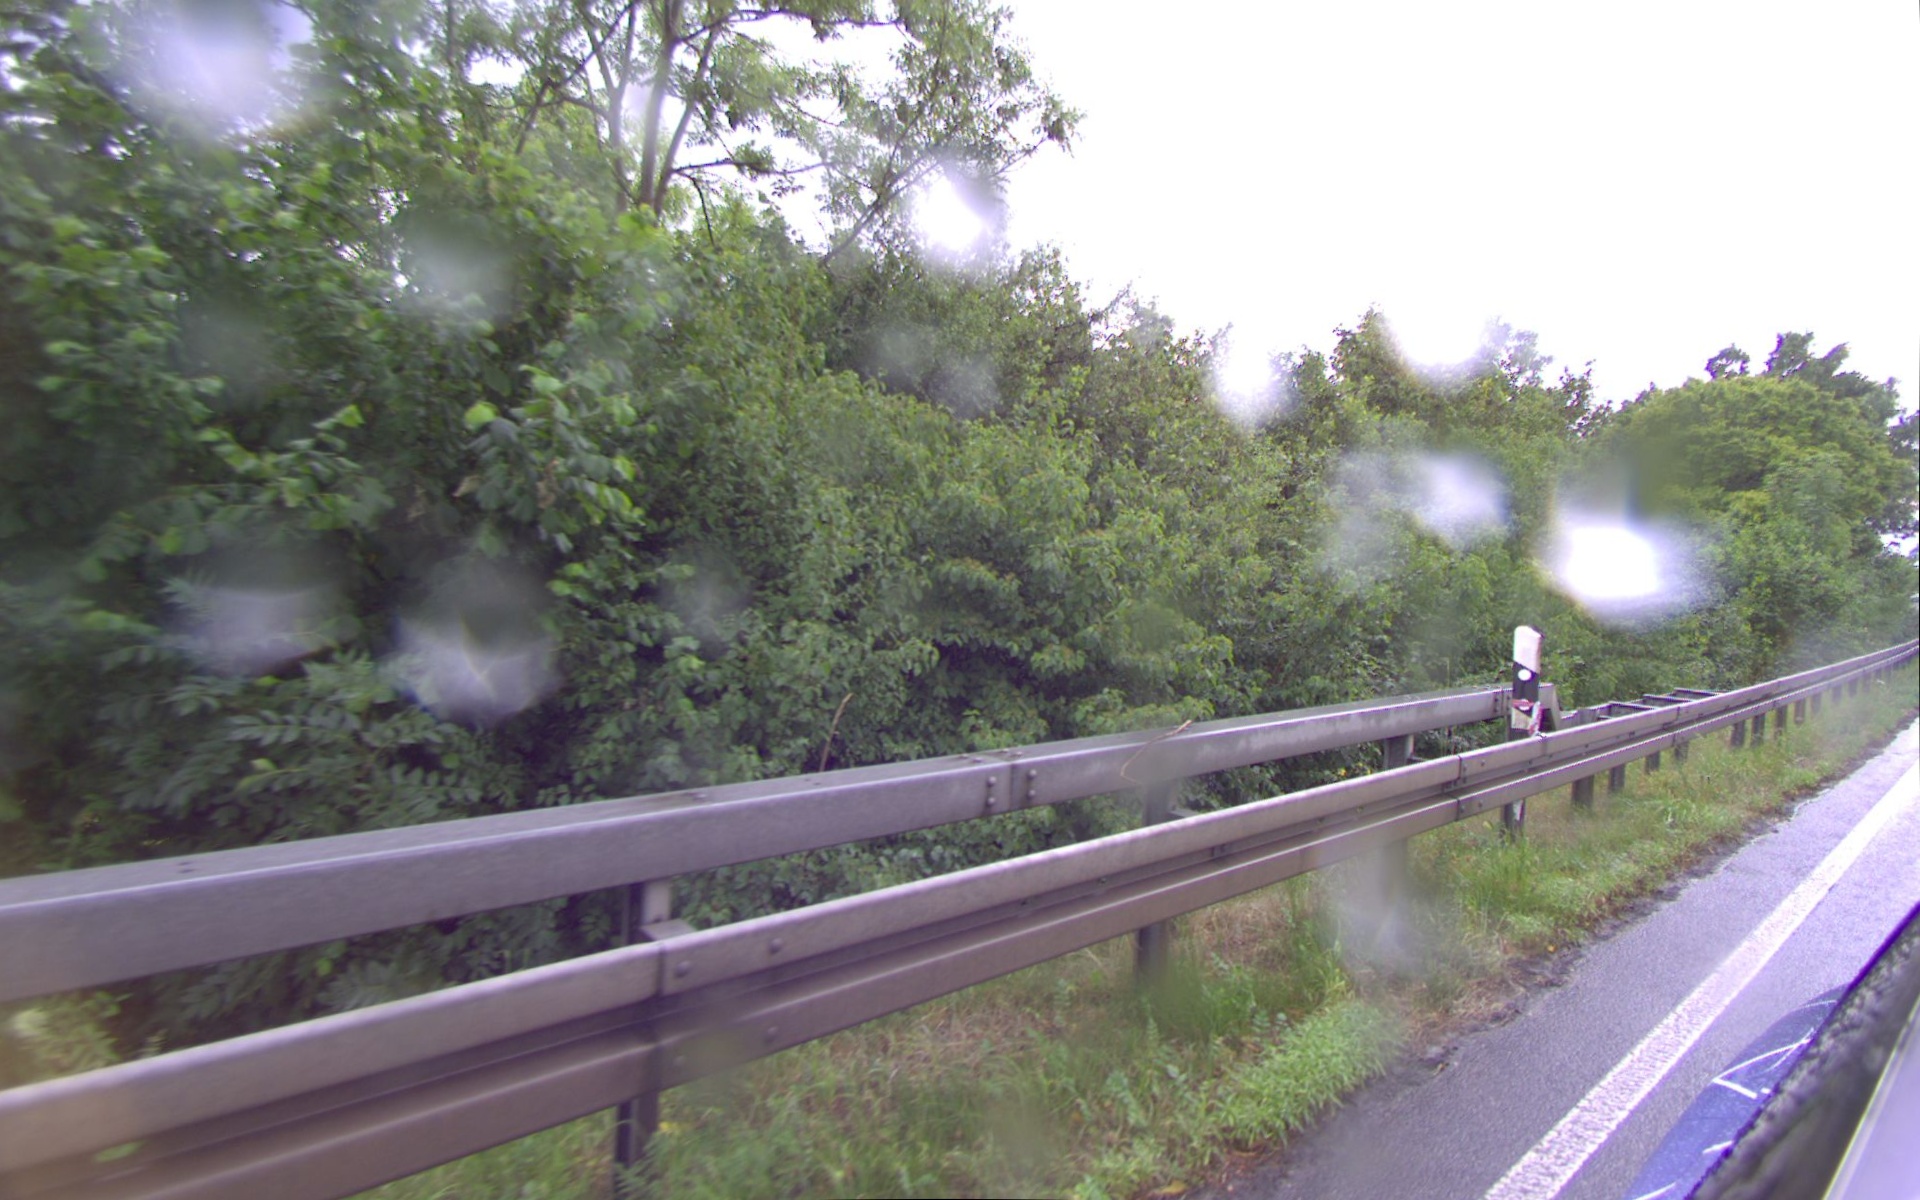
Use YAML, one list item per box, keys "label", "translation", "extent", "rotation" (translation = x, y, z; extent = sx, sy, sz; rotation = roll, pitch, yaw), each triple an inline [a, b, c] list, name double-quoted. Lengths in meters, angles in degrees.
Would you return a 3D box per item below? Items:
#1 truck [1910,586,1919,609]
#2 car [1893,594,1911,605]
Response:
- label: "truck"
  translation: [123.121, -0.247, 129.648]
  extent: [1.472, 2.913, 5.608]
  rotation: [1, 0, 37]
- label: "car"
  translation: [129.098, -0.018, 138.681]
  extent: [1.527, 1.486, 3.032]
  rotation: [1, 0, 38]
